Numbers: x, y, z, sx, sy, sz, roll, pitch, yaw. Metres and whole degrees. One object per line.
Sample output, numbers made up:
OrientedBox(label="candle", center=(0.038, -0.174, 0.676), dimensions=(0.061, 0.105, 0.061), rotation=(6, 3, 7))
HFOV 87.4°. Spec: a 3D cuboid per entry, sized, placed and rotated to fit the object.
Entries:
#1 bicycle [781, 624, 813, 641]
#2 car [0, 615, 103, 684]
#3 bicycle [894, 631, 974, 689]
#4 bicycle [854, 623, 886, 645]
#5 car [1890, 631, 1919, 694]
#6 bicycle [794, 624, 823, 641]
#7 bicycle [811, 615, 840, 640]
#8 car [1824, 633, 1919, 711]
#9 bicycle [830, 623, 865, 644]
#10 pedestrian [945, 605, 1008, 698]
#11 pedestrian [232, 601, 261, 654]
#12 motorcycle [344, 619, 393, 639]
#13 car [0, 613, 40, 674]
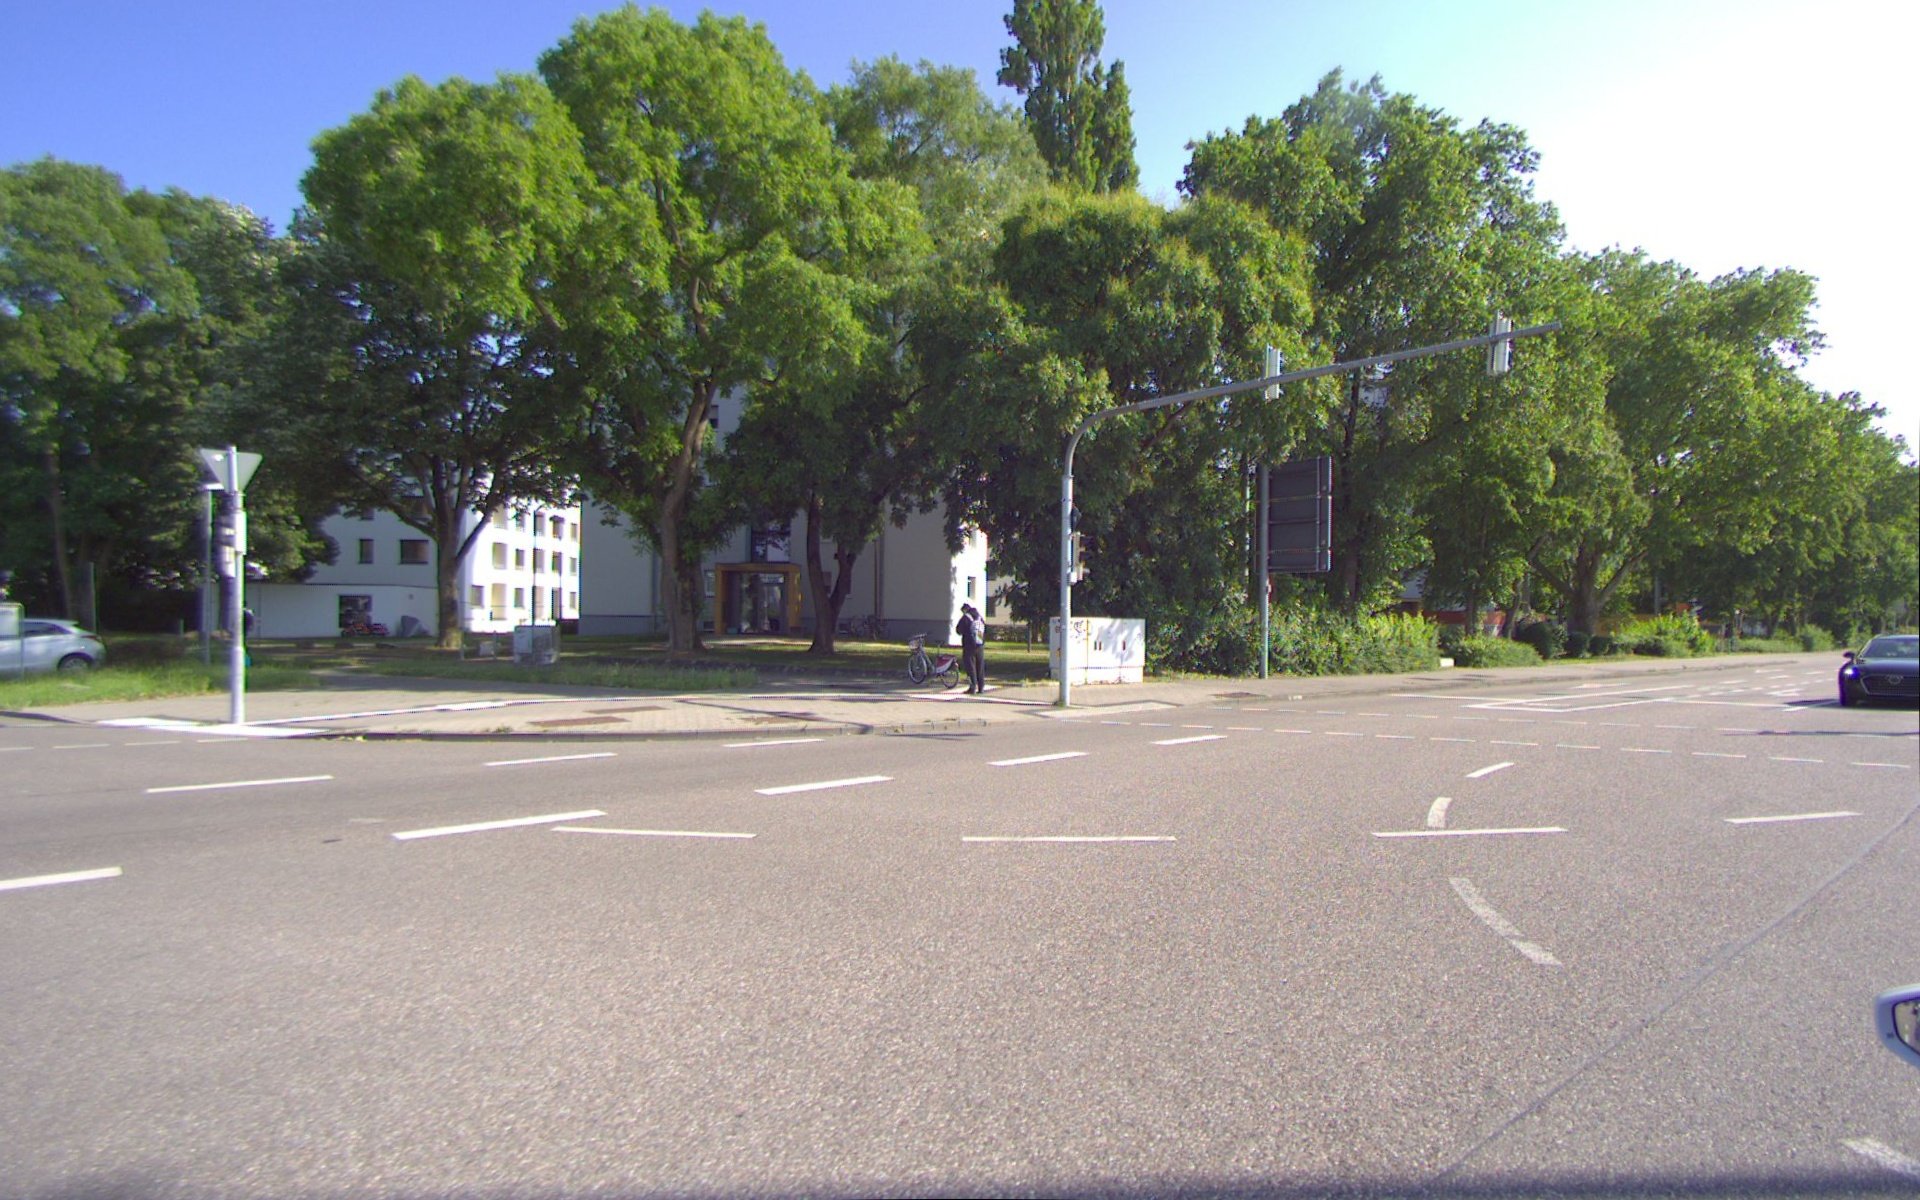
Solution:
OrientedBox(label="bicycle", center=(-7.386, 1.442, 45.524), dimensions=(0.573, 0.718, 2.239), rotation=(1, -1, 14))
OrientedBox(label="car", center=(-22.230, 1.155, 22.697), dimensions=(1.754, 1.459, 3.990), rotation=(0, 2, 31))
OrientedBox(label="bicycle", center=(-0.563, 1.234, 21.098), dimensions=(0.627, 1.134, 1.893), rotation=(1, -1, -40))
OrientedBox(label="bicycle", center=(-3.971, 1.479, 44.491), dimensions=(0.657, 0.932, 2.408), rotation=(1, -1, 14))
OrientedBox(label="car", center=(24.223, 1.499, 24.481), dimensions=(4.346, 1.454, 1.813), rotation=(1, -2, -41))
OrientedBox(label="bicycle", center=(-6.797, 1.458, 45.268), dimensions=(0.496, 0.718, 2.117), rotation=(1, -1, 14))
OrientedBox(label="bicycle", center=(-5.989, 1.243, 44.836), dimensions=(0.600, 1.080, 1.919), rotation=(1, -2, 13))
OrientedBox(label="car", center=(19.266, 1.391, 20.431), dimensions=(4.692, 1.450, 1.814), rotation=(2, -2, -40))
OrientedBox(label="bicycle", center=(-4.994, 1.469, 44.767), dimensions=(0.662, 0.887, 2.486), rotation=(1, -1, 14))
OrientedBox(label="pedestrian", center=(0.329, 0.996, 19.727), dimensions=(0.922, 1.775, 0.810), rotation=(1, 0, -36))
OrientedBox(label="pedestrian", center=(-23.748, 0.916, 33.428), dimensions=(0.696, 1.736, 0.621), rotation=(1, 0, -29))
OrientedBox(label="motorcycle", center=(-29.199, 1.431, 49.605), dimensions=(2.006, 0.977, 0.526), rotation=(1, 0, -7))
OrientedBox(label="car", center=(-25.025, 1.151, 24.124), dimensions=(1.755, 1.435, 3.988), rotation=(0, 3, 33))
